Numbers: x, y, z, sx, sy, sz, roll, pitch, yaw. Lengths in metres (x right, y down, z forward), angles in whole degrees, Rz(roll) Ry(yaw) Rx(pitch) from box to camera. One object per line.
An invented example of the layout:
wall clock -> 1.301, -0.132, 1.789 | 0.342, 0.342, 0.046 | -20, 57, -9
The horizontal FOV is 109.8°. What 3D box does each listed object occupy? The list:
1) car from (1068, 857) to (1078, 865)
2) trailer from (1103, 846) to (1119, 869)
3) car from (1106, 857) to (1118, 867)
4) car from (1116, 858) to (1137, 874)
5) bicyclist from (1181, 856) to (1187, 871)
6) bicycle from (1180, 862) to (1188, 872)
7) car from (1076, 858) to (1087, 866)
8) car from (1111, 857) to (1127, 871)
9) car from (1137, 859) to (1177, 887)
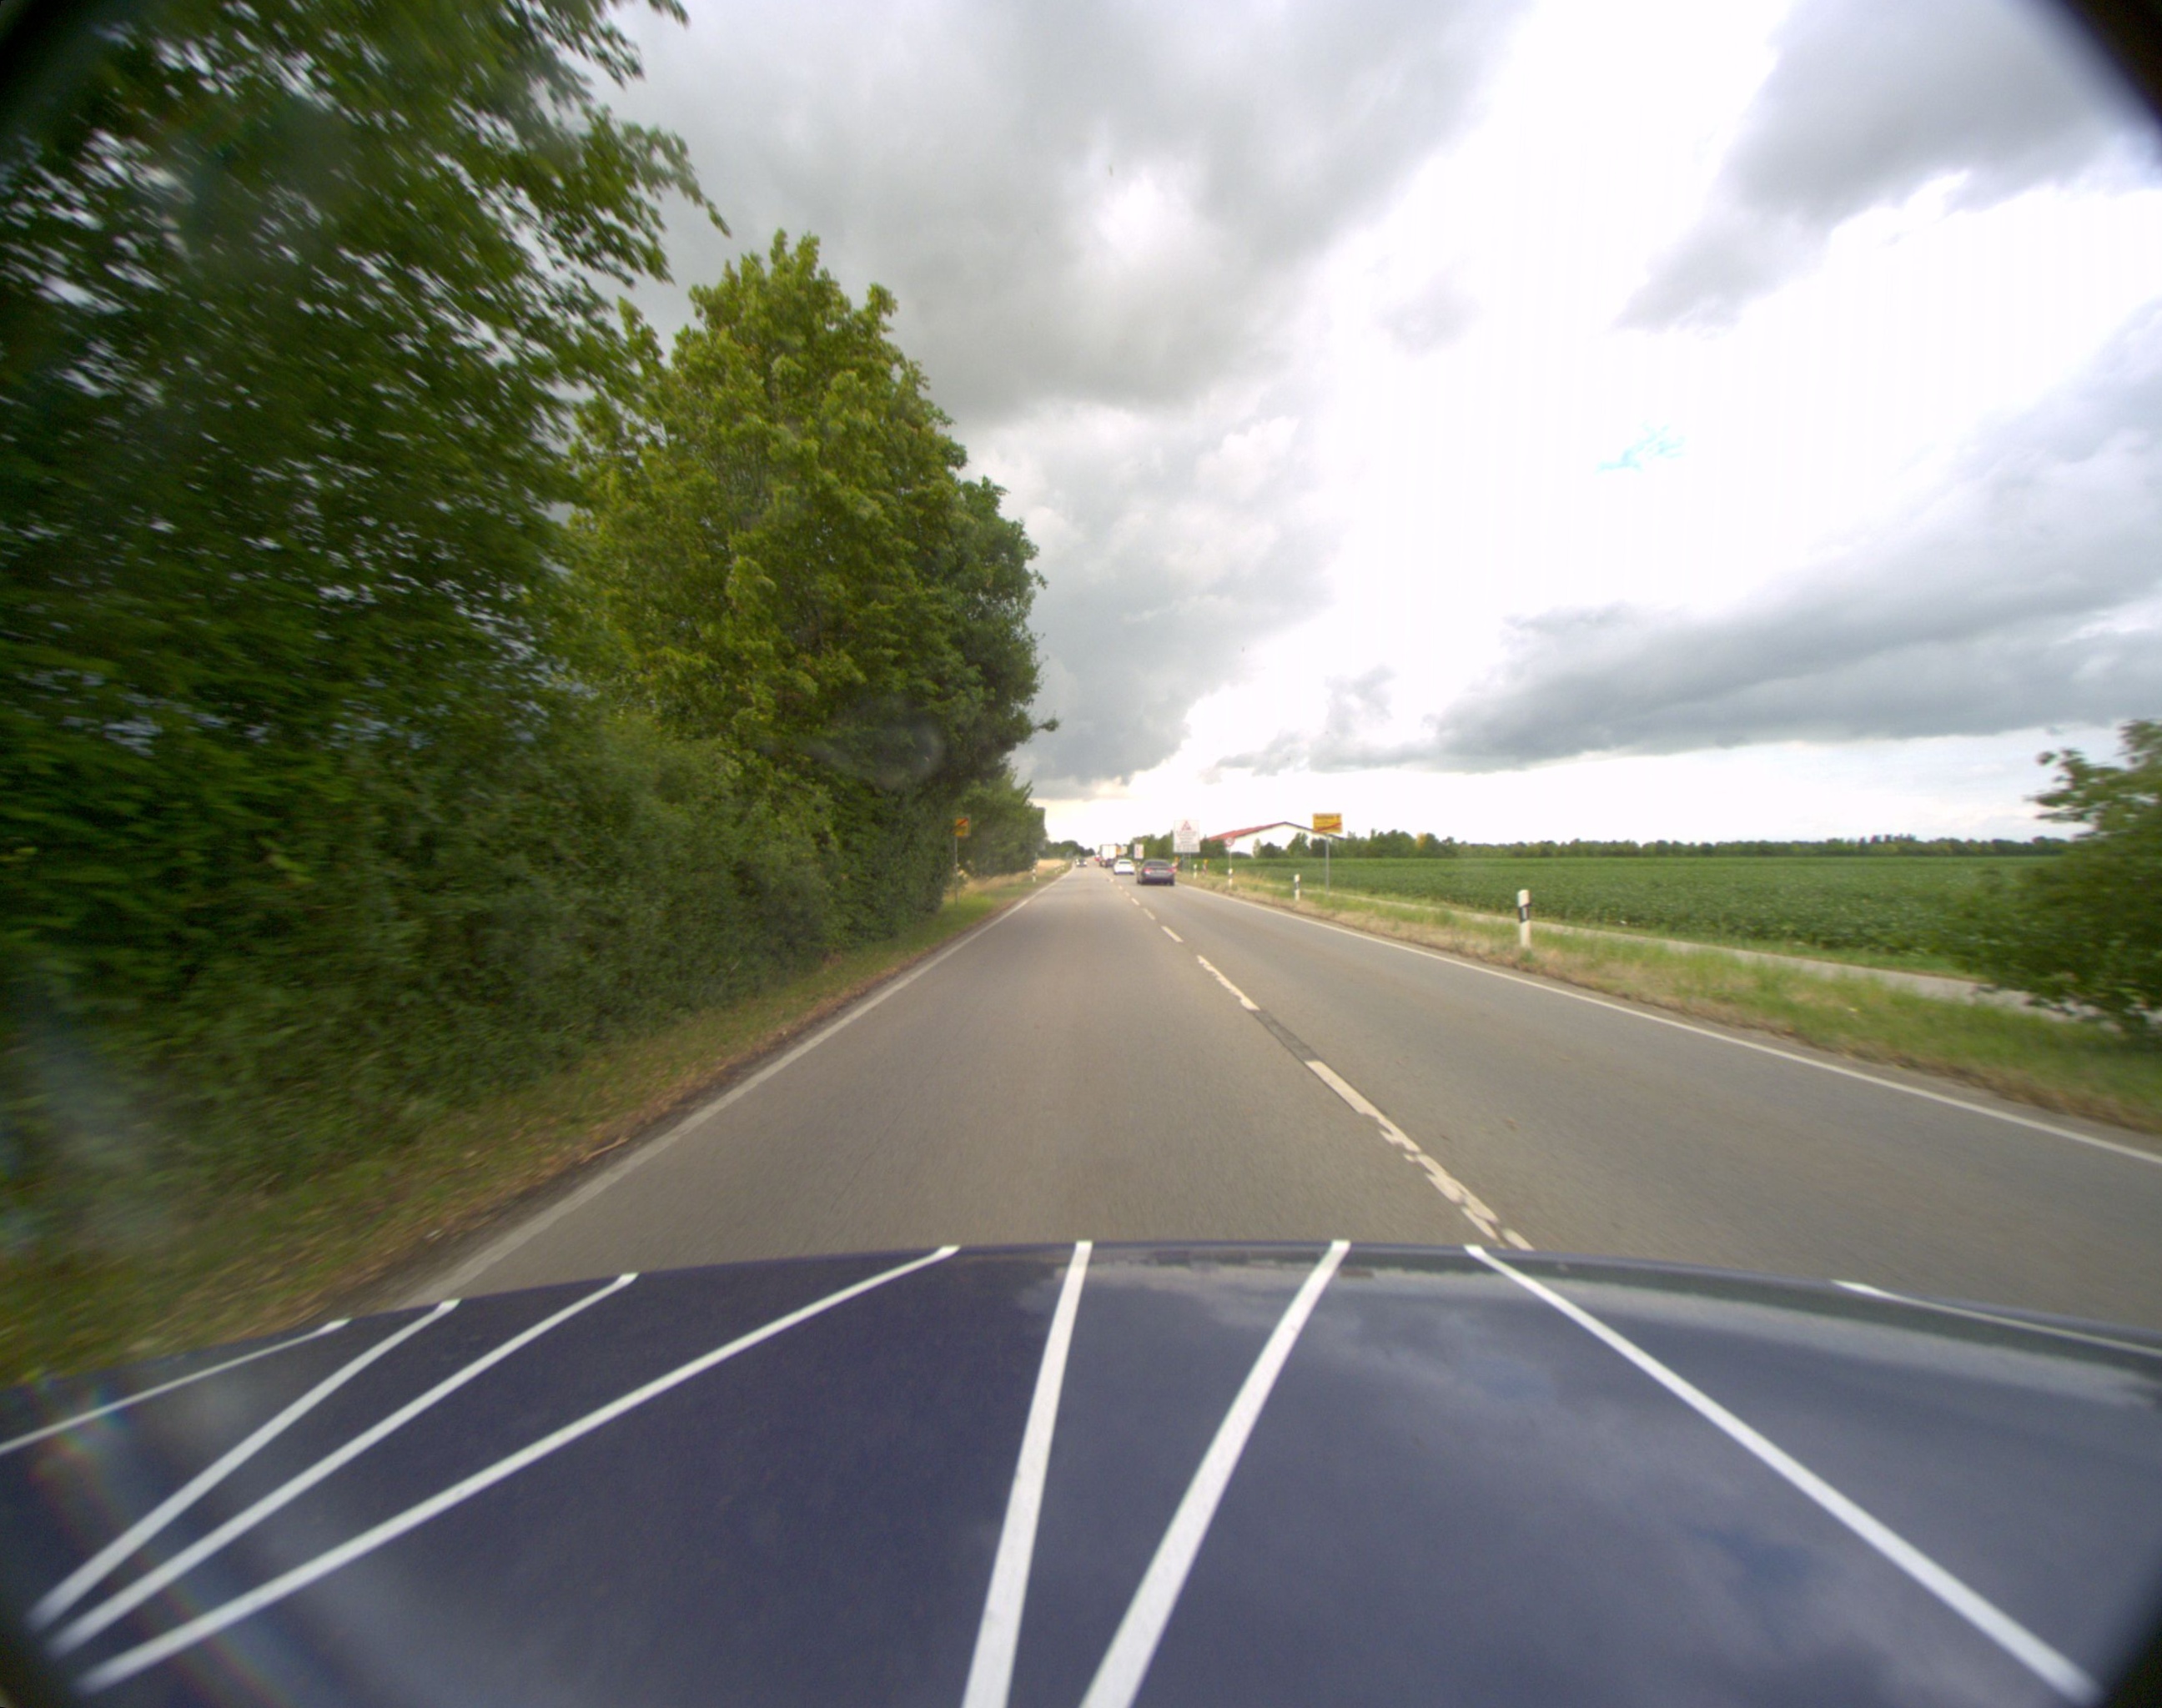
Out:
car -> -1.529, 1.406, 148.519 | 1.777, 1.407, 4.080 | 1, 0, 0
trailer -> 5.467, 0.648, 141.070 | 2.641, 4.096, 13.767 | 0, 0, 1
car -> 4.869, 1.269, 118.906 | 1.733, 1.577, 4.505 | 0, 0, 1
car -> 4.254, 1.139, 71.743 | 1.777, 1.365, 4.100 | 1, 0, 0
bicyclist -> 11.411, 1.033, 84.139 | 0.530, 1.575, 1.223 | 1, 0, 1
bicycle -> 11.400, 1.444, 84.124 | 0.530, 1.149, 1.794 | 1, 0, 1
car -> 0.120, 1.464, 137.097 | 1.869, 1.352, 3.826 | 0, 0, 0
car -> 4.556, 1.182, 91.904 | 1.708, 1.531, 4.301 | 1, 0, 0
car -> 4.294, 1.046, 43.643 | 1.857, 1.456, 4.370 | 0, 0, 0
